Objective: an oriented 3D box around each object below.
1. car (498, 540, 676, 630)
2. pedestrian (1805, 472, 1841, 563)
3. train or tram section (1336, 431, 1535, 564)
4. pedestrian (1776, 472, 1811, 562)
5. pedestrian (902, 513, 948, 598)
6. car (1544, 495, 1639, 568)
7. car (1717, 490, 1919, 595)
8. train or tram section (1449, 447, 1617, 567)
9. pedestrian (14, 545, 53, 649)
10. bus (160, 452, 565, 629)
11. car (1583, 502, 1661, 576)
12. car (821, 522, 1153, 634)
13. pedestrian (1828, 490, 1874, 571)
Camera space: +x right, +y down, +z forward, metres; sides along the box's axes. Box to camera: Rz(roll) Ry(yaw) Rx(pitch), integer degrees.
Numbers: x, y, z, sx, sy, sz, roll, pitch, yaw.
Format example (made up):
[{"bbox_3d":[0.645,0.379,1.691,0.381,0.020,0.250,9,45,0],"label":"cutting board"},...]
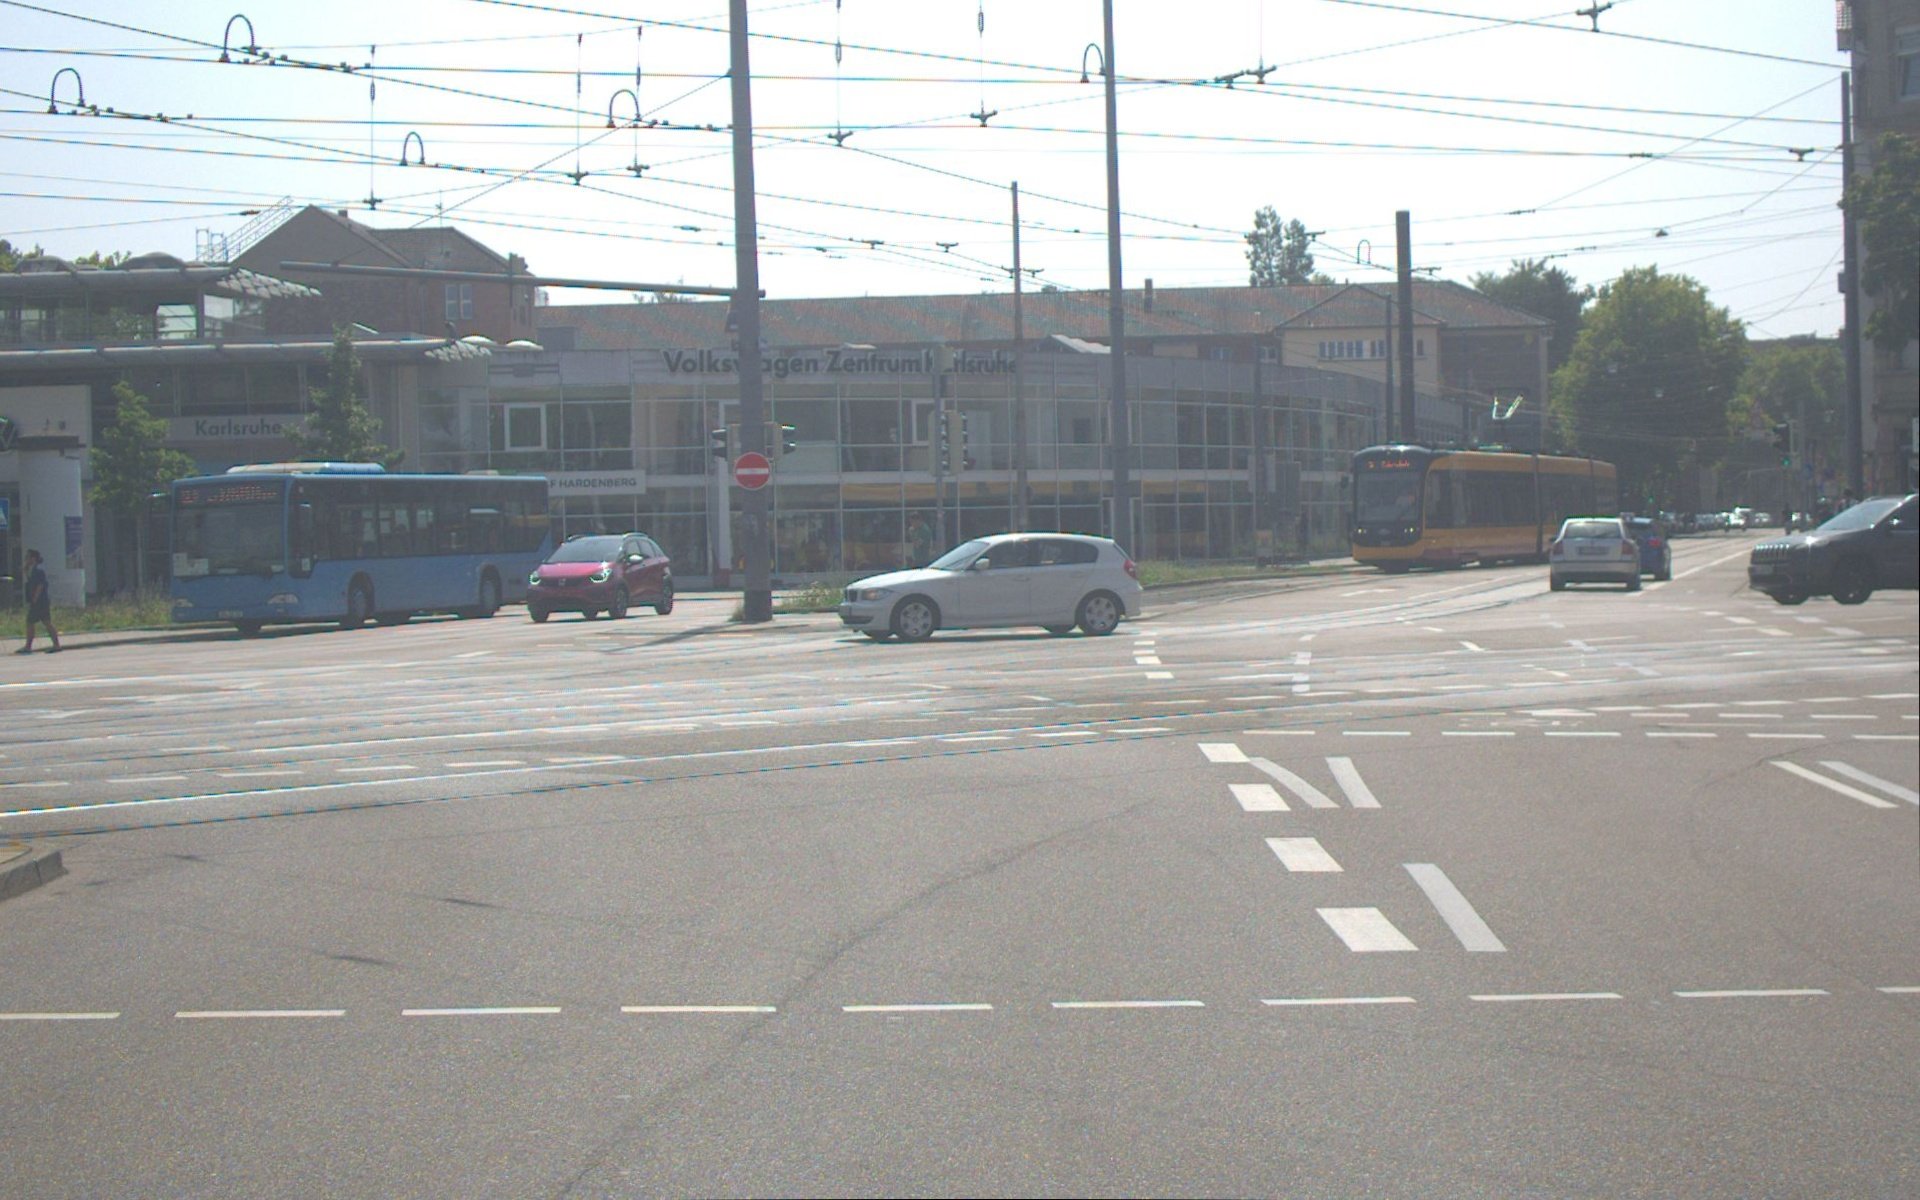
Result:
[{"bbox_3d":[-6.826,-0.301,63.348,1.751,1.546,3.997,-1,1,18],"label":"car"},{"bbox_3d":[28.979,-2.766,115.413,0.983,3.007,0.974,-1,1,6],"label":"pedestrian"},{"bbox_3d":[13.525,-2.853,96.904,2.591,3.504,10.885,-1,1,24],"label":"train or tram section"},{"bbox_3d":[28.247,-2.812,116.505,0.983,3.007,0.974,-1,1,6],"label":"pedestrian"},{"bbox_3d":[-0.595,-0.763,58.760,0.676,1.438,0.366,-1,1,-17],"label":"pedestrian"},{"bbox_3d":[12.824,-1.403,69.646,1.771,1.411,4.187,-1,1,12],"label":"car"},{"bbox_3d":[14.027,-0.894,52.101,4.609,1.499,2.001,-1,1,-20],"label":"car"},{"bbox_3d":[17.800,-2.872,106.220,2.592,3.504,9.646,-1,1,25],"label":"train or tram section"},{"bbox_3d":[-15.062,-0.052,55.901,0.552,1.678,0.454,-1,1,-18],"label":"pedestrian"},{"bbox_3d":[-11.257,-1.186,66.611,2.564,3.072,12.014,-1,1,17],"label":"bus"},{"bbox_3d":[15.052,-1.401,78.057,1.637,1.612,3.998,-1,1,12],"label":"car"},{"bbox_3d":[0.365,-0.325,47.211,4.187,1.411,1.776,-2,1,-19],"label":"car"},{"bbox_3d":[17.847,-1.396,68.873,0.699,1.597,0.573,-1,1,-8],"label":"pedestrian"}]
